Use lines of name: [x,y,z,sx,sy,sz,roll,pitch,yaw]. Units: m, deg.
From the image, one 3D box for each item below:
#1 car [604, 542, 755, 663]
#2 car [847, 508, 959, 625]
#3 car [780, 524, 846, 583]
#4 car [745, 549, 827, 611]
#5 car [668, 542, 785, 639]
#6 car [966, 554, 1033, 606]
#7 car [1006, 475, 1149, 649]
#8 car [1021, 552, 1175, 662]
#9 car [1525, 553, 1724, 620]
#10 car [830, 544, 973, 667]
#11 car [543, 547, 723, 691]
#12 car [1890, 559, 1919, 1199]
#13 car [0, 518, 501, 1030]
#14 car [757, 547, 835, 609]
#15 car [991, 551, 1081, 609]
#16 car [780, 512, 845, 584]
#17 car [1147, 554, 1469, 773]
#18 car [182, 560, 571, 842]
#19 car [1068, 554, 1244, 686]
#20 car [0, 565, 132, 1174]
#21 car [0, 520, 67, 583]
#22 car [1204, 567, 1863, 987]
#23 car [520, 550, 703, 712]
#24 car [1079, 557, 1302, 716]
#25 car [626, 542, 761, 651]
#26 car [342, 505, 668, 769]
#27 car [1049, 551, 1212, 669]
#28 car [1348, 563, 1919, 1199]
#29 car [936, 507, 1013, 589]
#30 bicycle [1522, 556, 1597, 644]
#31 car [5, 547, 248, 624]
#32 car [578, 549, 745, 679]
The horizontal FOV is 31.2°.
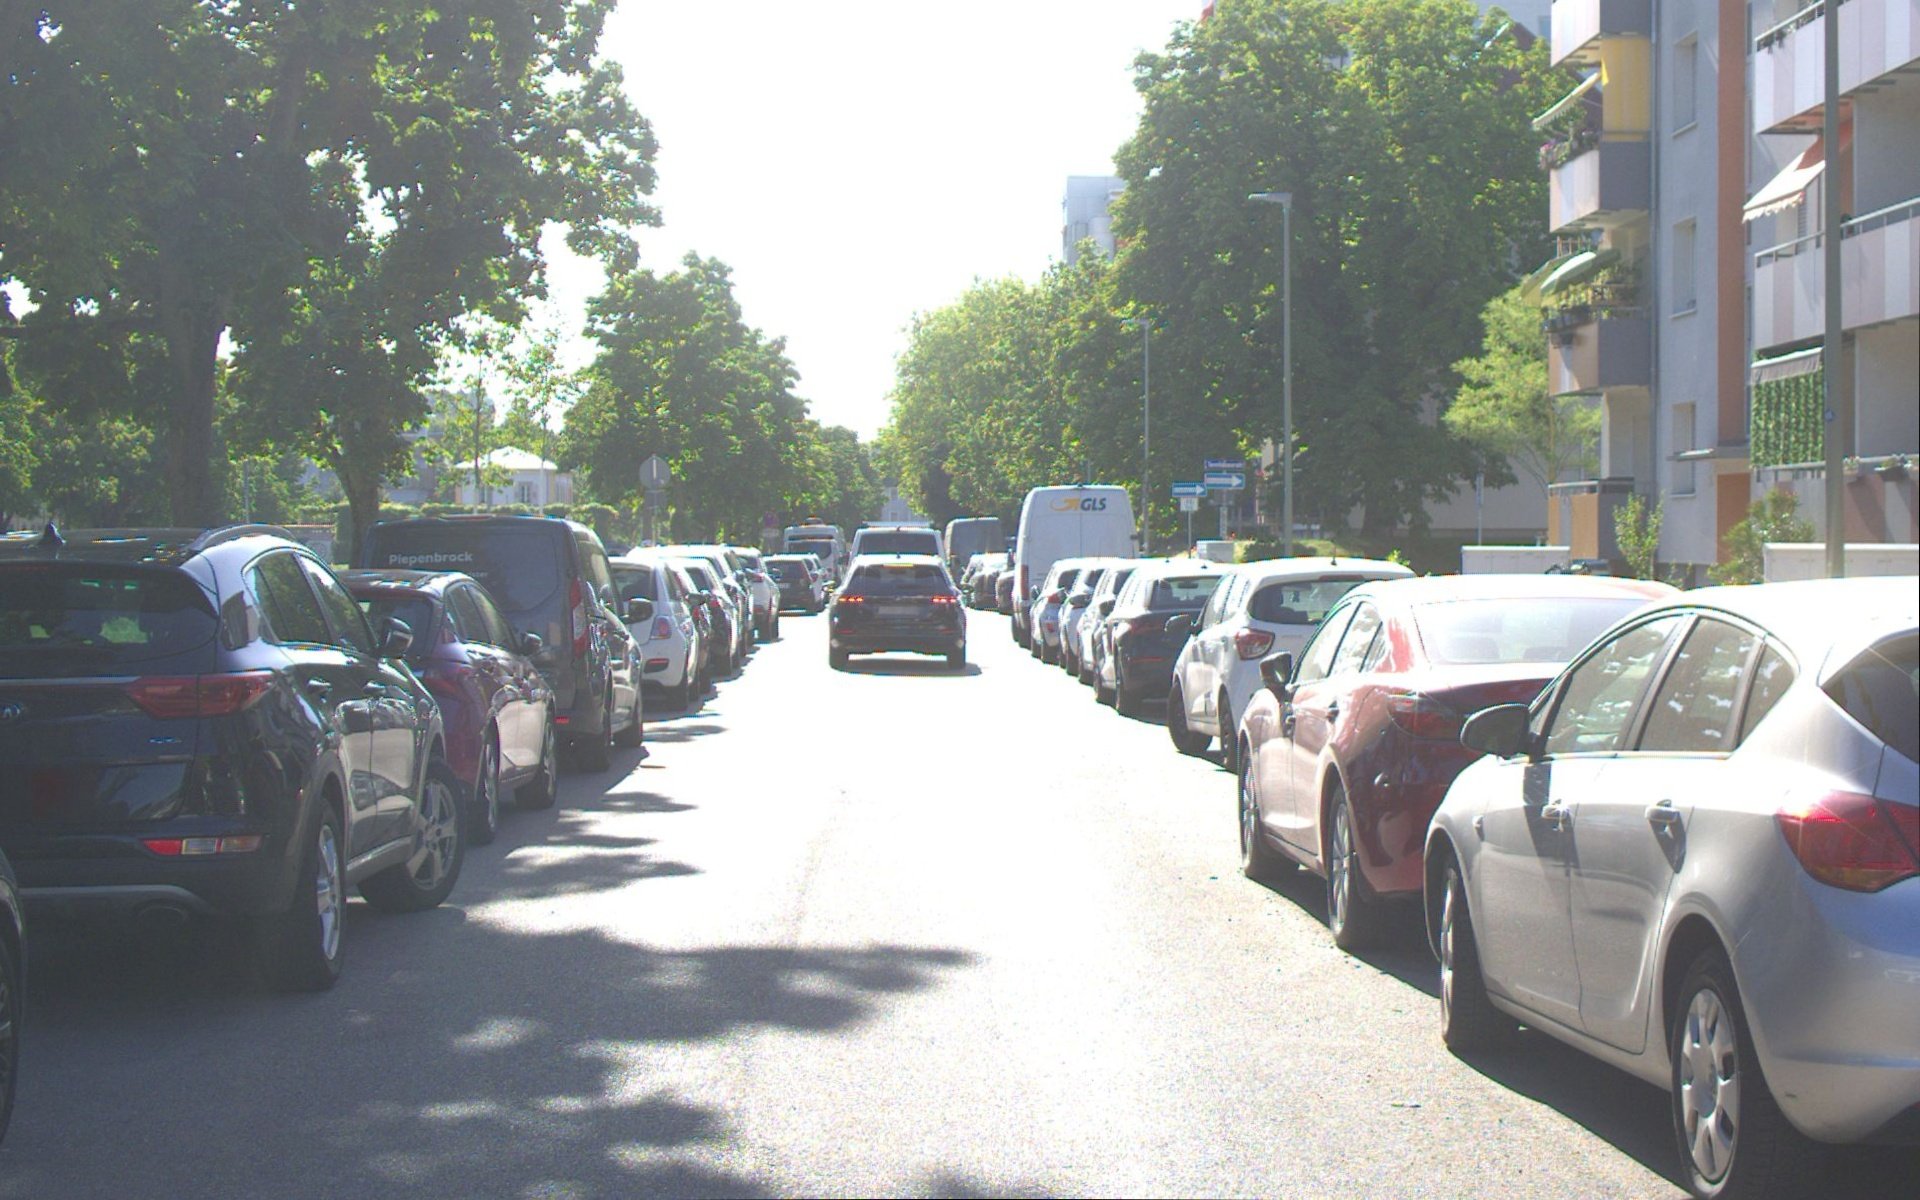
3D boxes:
car: [-3.966,-0.005,49.167,1.819,1.604,4.739,-1,1,-1]
car: [-0.991,-0.618,61.841,1.894,1.984,4.010,-1,1,0]
car: [-4.876,-1.560,114.530,2.098,1.936,4.127,0,1,-1]
car: [-4.225,-0.482,83.828,1.748,1.420,3.916,-2,0,0]
car: [-4.160,-0.200,61.773,1.756,1.641,4.287,-1,1,0]
car: [1.055,-0.569,93.570,1.779,1.366,4.127,0,1,0]
car: [1.906,-0.658,57.799,2.142,2.703,6.841,-1,1,0]
car: [1.951,0.063,49.837,1.849,1.461,4.202,1,1,-3]
car: [14.281,-0.293,74.009,3.886,1.424,1.659,0,1,-4]
car: [-0.741,0.036,45.688,1.779,1.526,4.000,1,1,0]
car: [-3.644,0.164,38.971,1.755,1.487,4.669,-1,1,-2]
car: [2.518,0.730,3.766,1.769,1.524,4.558,0,1,0]
car: [-3.133,0.531,13.368,2.026,1.620,4.757,-1,1,0]
car: [-4.200,-0.562,88.349,1.777,1.490,3.875,-2,0,0]
car: [1.909,-0.529,87.622,2.125,1.333,4.506,-2,1,0]
car: [-5.163,-1.822,120.936,2.098,2.488,4.127,0,1,0]
car: [2.518,0.413,25.767,1.747,1.494,3.862,0,1,-4]
car: [-3.217,0.494,19.636,1.538,1.423,4.088,0,1,0]
car: [2.218,0.190,39.777,1.721,1.430,4.153,0,1,-1]
car: [-3.173,0.636,7.382,1.880,1.414,3.803,-1,0,0]
car: [-41.594,-2.177,154.342,1.915,2.734,5.626,0,1,-4]
car: [2.232,0.611,14.834,1.843,1.467,5.066,0,1,-2]
car: [-3.455,0.267,34.529,1.586,1.487,3.686,-2,1,-3]
car: [2.229,0.315,34.346,1.699,1.430,4.472,-1,1,-3]
car: [-4.240,-0.082,55.253,1.842,1.633,4.715,-1,1,-1]
car: [-3.284,0.238,25.713,1.864,1.778,4.991,0,0,-1]
car: [2.193,0.094,45.153,1.878,1.470,4.140,0,1,-1]
car: [2.428,0.681,9.449,1.873,1.528,4.494,0,1,-5]
car: [0.457,-1.731,115.098,2.162,2.680,5.417,0,1,-4]
bicycle: [8.166,0.012,46.867,0.596,1.172,2.014,0,-1,-2]
car: [-16.393,-0.295,67.596,4.333,1.404,1.921,0,3,-25]
car: [-3.772,0.139,44.140,1.873,1.514,4.471,-2,1,-2]
